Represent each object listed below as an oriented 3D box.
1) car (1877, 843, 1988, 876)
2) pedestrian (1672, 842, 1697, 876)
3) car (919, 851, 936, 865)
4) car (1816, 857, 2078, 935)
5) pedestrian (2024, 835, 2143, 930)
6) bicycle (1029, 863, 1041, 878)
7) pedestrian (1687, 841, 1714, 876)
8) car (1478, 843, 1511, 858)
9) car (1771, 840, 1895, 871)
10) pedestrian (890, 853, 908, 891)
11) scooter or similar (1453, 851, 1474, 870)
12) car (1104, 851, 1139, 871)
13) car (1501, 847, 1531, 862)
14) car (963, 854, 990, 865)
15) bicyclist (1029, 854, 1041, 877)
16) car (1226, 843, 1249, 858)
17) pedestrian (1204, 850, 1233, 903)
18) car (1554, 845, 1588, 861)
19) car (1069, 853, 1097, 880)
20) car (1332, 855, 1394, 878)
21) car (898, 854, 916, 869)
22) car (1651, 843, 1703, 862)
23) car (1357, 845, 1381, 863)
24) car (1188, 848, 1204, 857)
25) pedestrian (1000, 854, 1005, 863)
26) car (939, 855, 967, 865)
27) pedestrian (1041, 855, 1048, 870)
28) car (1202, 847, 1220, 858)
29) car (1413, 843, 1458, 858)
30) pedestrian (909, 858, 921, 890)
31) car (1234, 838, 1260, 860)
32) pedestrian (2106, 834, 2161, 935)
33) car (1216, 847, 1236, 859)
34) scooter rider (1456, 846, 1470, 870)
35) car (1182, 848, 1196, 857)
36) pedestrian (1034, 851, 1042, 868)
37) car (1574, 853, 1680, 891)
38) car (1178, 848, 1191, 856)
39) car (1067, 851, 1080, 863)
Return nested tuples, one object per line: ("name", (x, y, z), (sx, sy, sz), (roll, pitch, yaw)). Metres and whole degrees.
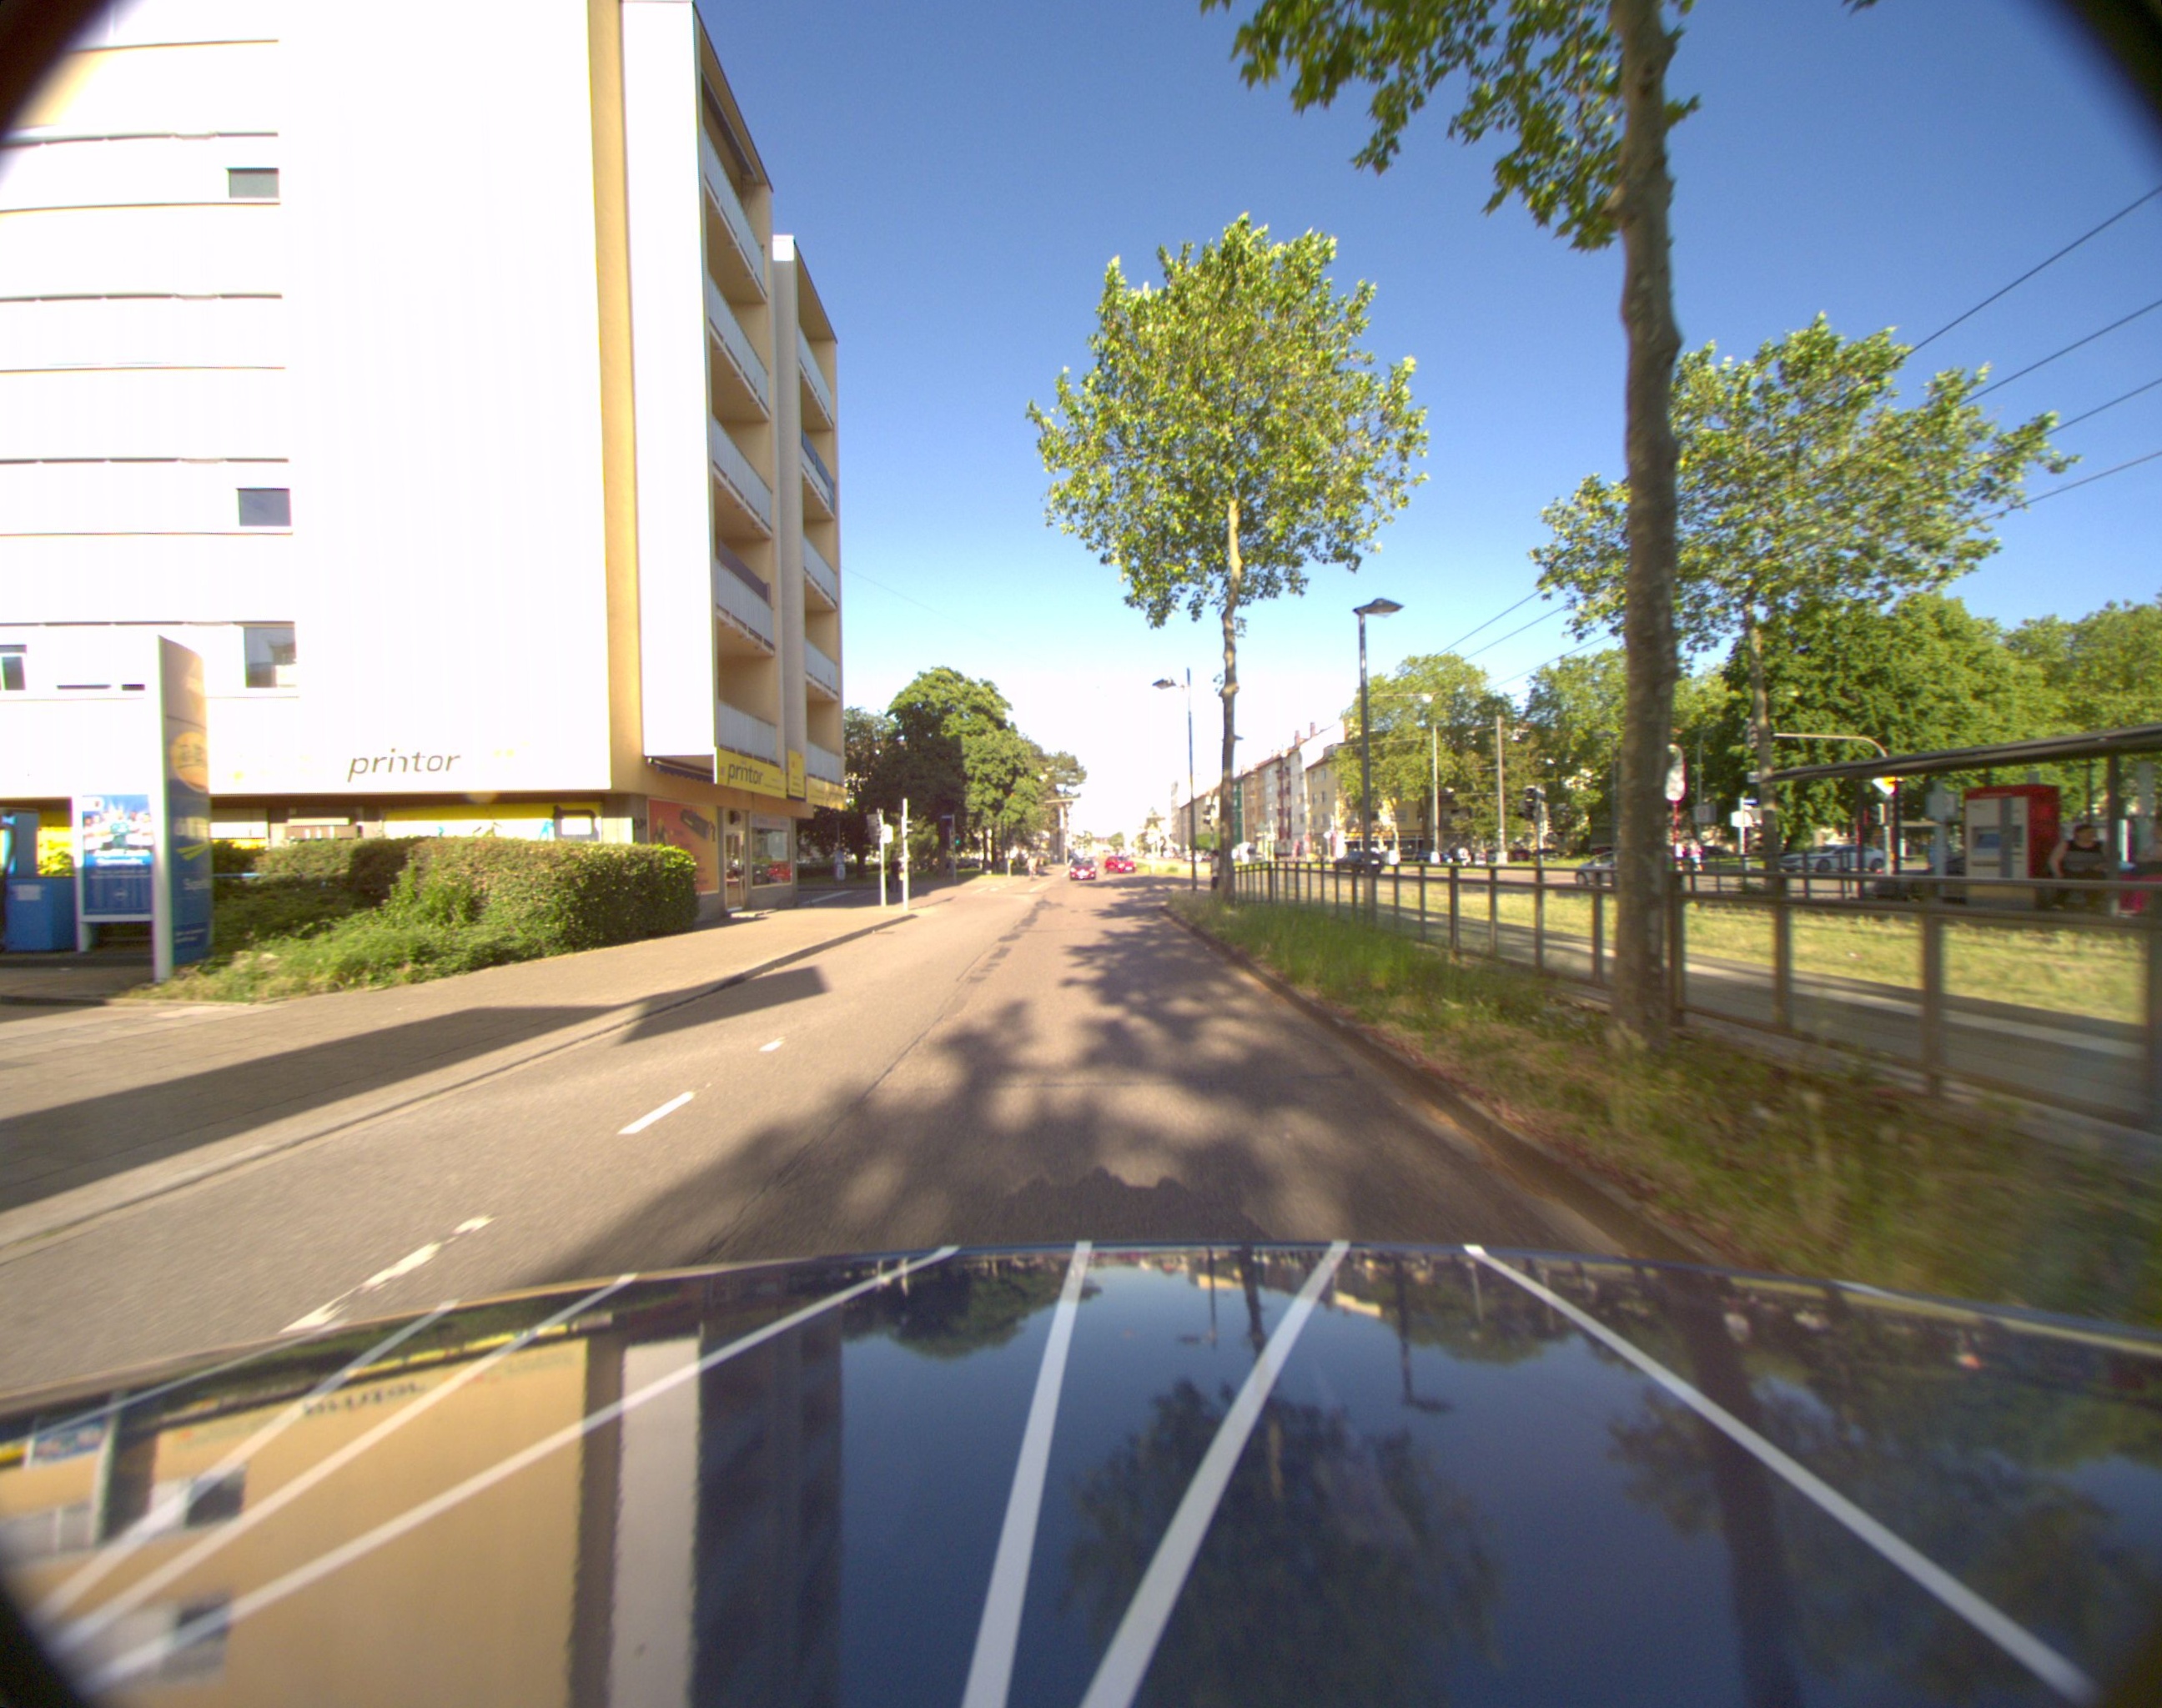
("car", (45.753, 0.299, 40.887), (3.997, 1.705, 1.787), (-1, 0, 1))
("pedestrian", (29.570, 0.240, 37.233), (0.596, 1.672, 0.747), (-1, 1, -5))
("car", (-19.162, 0.507, 94.849), (2.001, 1.689, 4.272), (-1, 0, -13))
("car", (15.183, 0.671, 13.550), (1.328, 1.197, 2.965), (-1, 0, 1))
("pedestrian", (14.648, 0.401, 11.134), (0.733, 1.334, 0.774), (-1, 1, 15))
("bicycle", (-3.010, 1.076, 49.465), (0.684, 0.925, 1.736), (-1, 0, 0))
("pedestrian", (30.855, 0.244, 37.832), (0.596, 1.713, 0.880), (-1, 1, -5))
("car", (43.624, -0.348, 80.187), (1.997, 1.543, 3.938), (-1, 0, 12))
("car", (39.432, 0.078, 39.913), (4.525, 1.478, 2.000), (-1, 0, 0))
("pedestrian", (-8.746, 0.853, 36.573), (0.790, 1.817, 1.032), (0, 1, -16))
("scooter or similar", (26.761, 0.480, 53.221), (0.598, 1.302, 1.540), (-1, 0, -4))
("car", (3.307, 0.587, 62.209), (1.545, 1.522, 3.597), (-3, 1, -20))
("car", (40.048, 0.001, 70.073), (1.641, 1.300, 4.005), (0, 1, 18))
("car", (-12.664, 0.668, 92.289), (1.997, 1.316, 4.280), (-1, 0, 10))
("bicyclist", (-3.002, 0.741, 49.370), (0.678, 1.466, 0.936), (-1, 1, 0))
("car", (21.829, -0.530, 106.076), (2.144, 2.022, 5.157), (-1, 0, 1))
("pedestrian", (3.999, 0.638, 22.091), (0.660, 1.520, 0.538), (-1, 1, -7))
("car", (50.460, -0.113, 78.337), (1.674, 1.598, 3.938), (-1, 0, 12))
("car", (0.186, 0.753, 48.063), (1.619, 1.537, 4.277), (-1, 0, 2))
("car", (18.857, 0.819, 51.049), (1.956, 1.433, 4.525), (-1, 0, -8))
("car", (-21.807, 0.920, 95.246), (2.001, 1.689, 4.271), (-2, 0, -16))
("car", (51.250, -0.123, 65.426), (1.997, 1.543, 3.938), (-1, 0, 12))
("car", (32.039, -0.034, 84.729), (1.909, 1.871, 4.003), (-1, 0, 12))
("car", (21.662, -0.283, 143.106), (2.144, 1.697, 5.445), (-1, 0, 1))
("pedestrian", (-9.603, 0.594, 92.863), (0.459, 1.072, 0.613), (-1, 1, 0))
("car", (-15.655, 0.702, 92.951), (1.997, 1.060, 4.280), (-1, 0, 10))
("pedestrian", (-3.663, 0.833, 75.286), (0.596, 1.518, 0.633), (-1, 1, -10))
("car", (21.825, -0.219, 127.522), (2.144, 1.697, 5.445), (-1, 0, 1))
("car", (35.259, -0.336, 75.697), (3.990, 1.429, 1.720), (0, 1, 23))
("pedestrian", (-8.041, 0.969, 36.799), (0.505, 1.537, 0.518), (0, 2, -16))
("car", (21.527, -0.640, 98.722), (2.231, 2.808, 5.229), (-1, 0, 1))
("pedestrian", (14.708, 0.403, 10.271), (0.695, 1.334, 0.734), (-1, 1, 2))
("car", (22.311, -0.191, 117.436), (2.144, 1.697, 5.157), (-1, 0, 1))
("scooter rider", (26.755, 0.299, 53.222), (0.596, 1.686, 0.573), (-1, 1, -5))
("car", (22.264, -0.361, 156.301), (2.144, 1.697, 5.402), (-1, 0, 1))
("pedestrian", (-4.303, 0.504, 75.920), (0.567, 1.688, 0.595), (-1, 1, -17))
("car", (20.456, 0.643, 28.635), (1.329, 1.317, 3.415), (-1, 0, -5))
("car", (22.240, -0.401, 163.340), (2.144, 1.697, 5.402), (-1, 0, 1))
("car", (-1.135, 0.507, 118.781), (1.998, 1.806, 4.000), (-2, 0, 0))
